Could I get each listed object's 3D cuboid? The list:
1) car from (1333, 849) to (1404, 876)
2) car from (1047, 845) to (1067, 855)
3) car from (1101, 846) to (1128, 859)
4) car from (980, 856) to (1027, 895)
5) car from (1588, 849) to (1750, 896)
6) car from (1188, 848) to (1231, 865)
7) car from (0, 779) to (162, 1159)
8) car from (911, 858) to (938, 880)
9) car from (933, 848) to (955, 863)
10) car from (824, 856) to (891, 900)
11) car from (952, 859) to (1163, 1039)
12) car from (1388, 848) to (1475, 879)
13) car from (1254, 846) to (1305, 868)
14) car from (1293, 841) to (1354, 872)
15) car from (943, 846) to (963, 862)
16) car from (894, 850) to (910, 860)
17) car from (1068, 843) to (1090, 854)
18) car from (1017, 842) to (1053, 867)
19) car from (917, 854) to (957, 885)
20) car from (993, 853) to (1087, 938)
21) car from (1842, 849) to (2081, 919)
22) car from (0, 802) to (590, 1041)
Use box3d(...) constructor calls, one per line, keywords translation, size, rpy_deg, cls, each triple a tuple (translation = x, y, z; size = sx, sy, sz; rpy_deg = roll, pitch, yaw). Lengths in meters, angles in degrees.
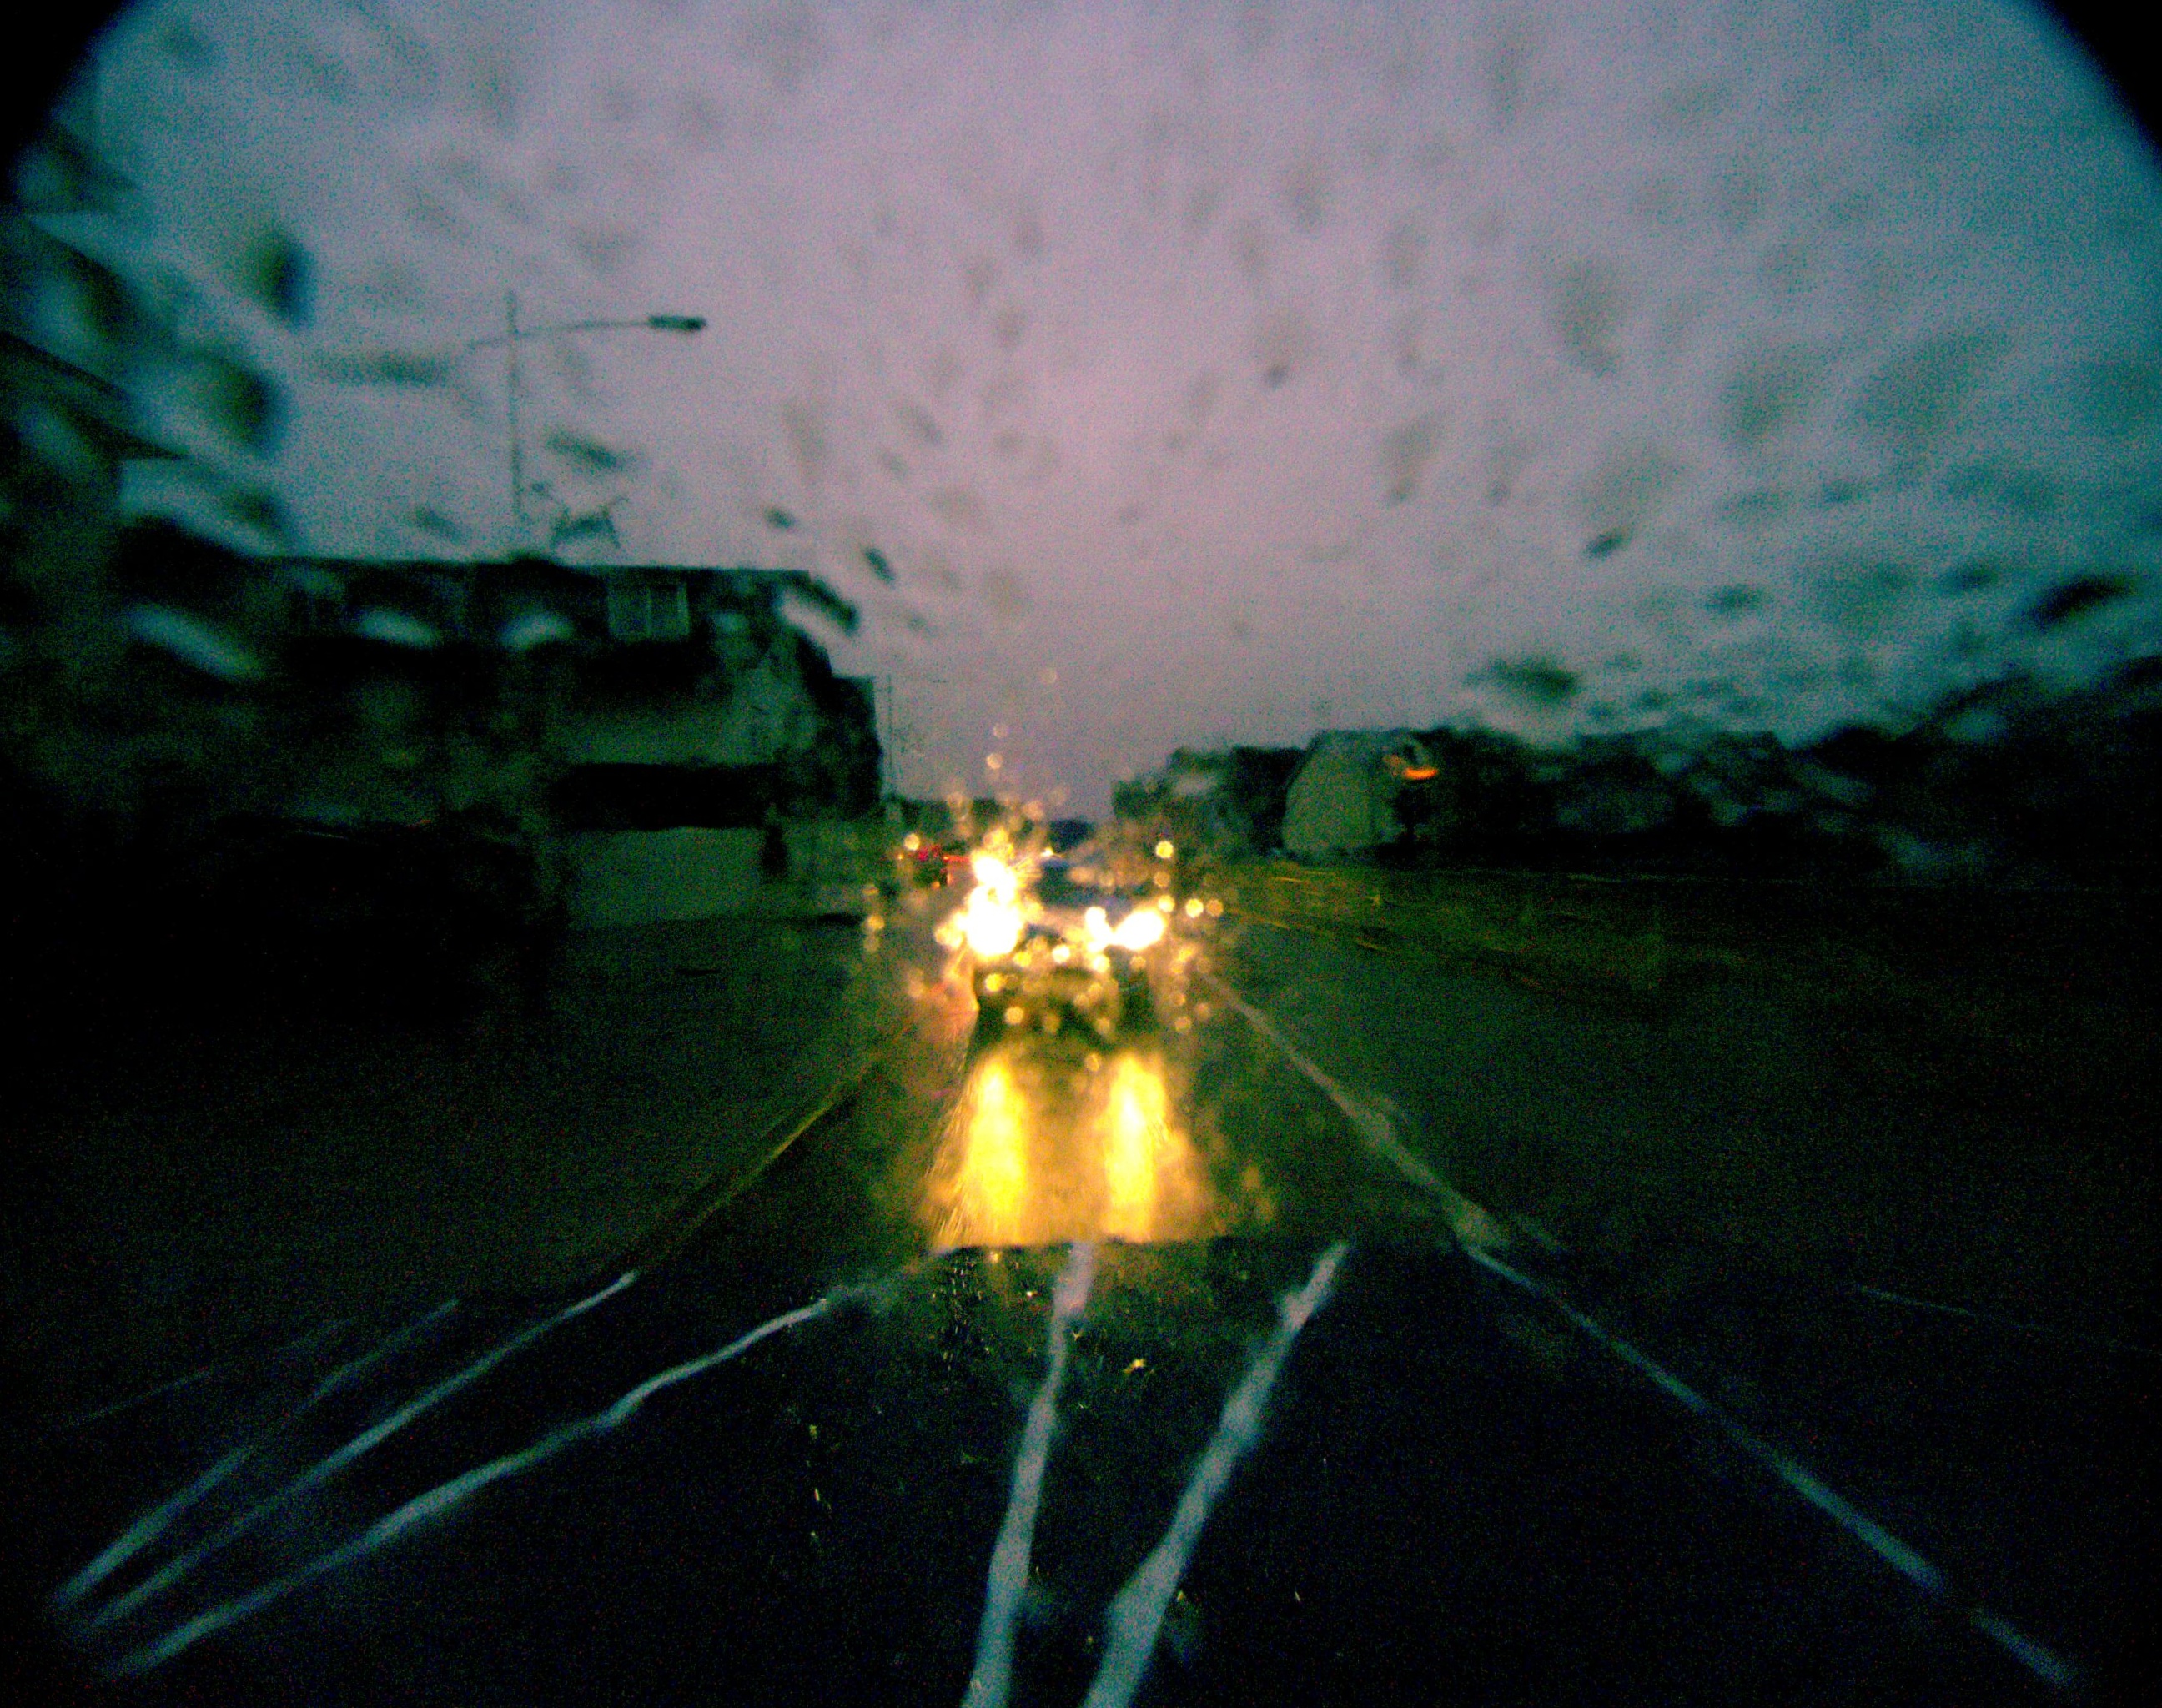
box3d(translation=(16.476, 0.465, 43.719), size=(1.800, 1.460, 4.252), rpy_deg=(-1, 1, -12), cls="car")
box3d(translation=(-3.516, -0.537, 111.898), size=(1.801, 1.460, 4.250), rpy_deg=(-1, 1, -17), cls="car")
box3d(translation=(3.815, -0.186, 87.862), size=(1.801, 1.460, 4.251), rpy_deg=(-1, 1, -16), cls="car")
box3d(translation=(-3.335, 0.875, 32.358), size=(1.573, 1.460, 3.612), rpy_deg=(-3, 1, -12), cls="car")
box3d(translation=(19.999, 0.570, 26.092), size=(1.800, 1.460, 4.252), rpy_deg=(-1, 1, -12), cls="car")
box3d(translation=(11.048, 0.202, 65.664), size=(1.801, 1.460, 4.609), rpy_deg=(-1, 1, -16), cls="car")
box3d(translation=(-7.685, 0.442, 3.361), size=(4.552, 1.922, 1.974), rpy_deg=(4, 0, -3), cls="car")
box3d(translation=(-9.744, 0.896, 47.565), size=(1.498, 1.283, 3.288), rpy_deg=(-1, 0, -9), cls="car")
box3d(translation=(-14.645, 0.189, 81.071), size=(1.673, 1.513, 3.994), rpy_deg=(0, -1, -19), cls="car")
box3d(translation=(-8.087, 0.842, 27.776), size=(1.778, 1.488, 3.775), rpy_deg=(1, 0, -8), cls="car")
box3d(translation=(-0.243, 0.887, 8.967), size=(1.888, 1.569, 3.999), rpy_deg=(-2, 0, -1), cls="car")
box3d(translation=(17.663, 0.450, 38.483), size=(1.800, 1.460, 4.252), rpy_deg=(-1, 1, -12), cls="car")
box3d(translation=(14.111, 0.233, 54.119), size=(1.677, 1.460, 4.012), rpy_deg=(1, -1, -16), cls="car")
box3d(translation=(15.447, 0.140, 48.597), size=(1.801, 1.816, 4.252), rpy_deg=(-1, 1, -12), cls="car")
box3d(translation=(-17.443, 0.013, 103.296), size=(2.001, 2.002, 3.993), rpy_deg=(-2, 1, -18), cls="car")
box3d(translation=(-25.939, 0.223, 110.071), size=(1.756, 1.409, 3.747), rpy_deg=(1, -1, -22), cls="car")
box3d(translation=(-0.324, -0.690, 101.577), size=(1.801, 1.460, 4.251), rpy_deg=(-1, 1, -16), cls="car")
box3d(translation=(-3.927, 0.008, 64.057), size=(2.001, 2.002, 3.993), rpy_deg=(-2, 1, -18), cls="car")
box3d(translation=(-7.791, 0.799, 41.392), size=(1.849, 1.577, 3.766), rpy_deg=(-1, 0, -7), cls="car")
box3d(translation=(-1.018, 0.839, 16.900), size=(1.682, 1.614, 3.997), rpy_deg=(-1, -1, -9), cls="car")
box3d(translation=(20.885, 0.630, 18.242), size=(1.479, 1.500, 3.500), rpy_deg=(-1, 1, -9), cls="car")
box3d(translation=(-7.348, 0.586, 7.092), size=(4.153, 1.625, 1.753), rpy_deg=(6, 0, -10), cls="car")
